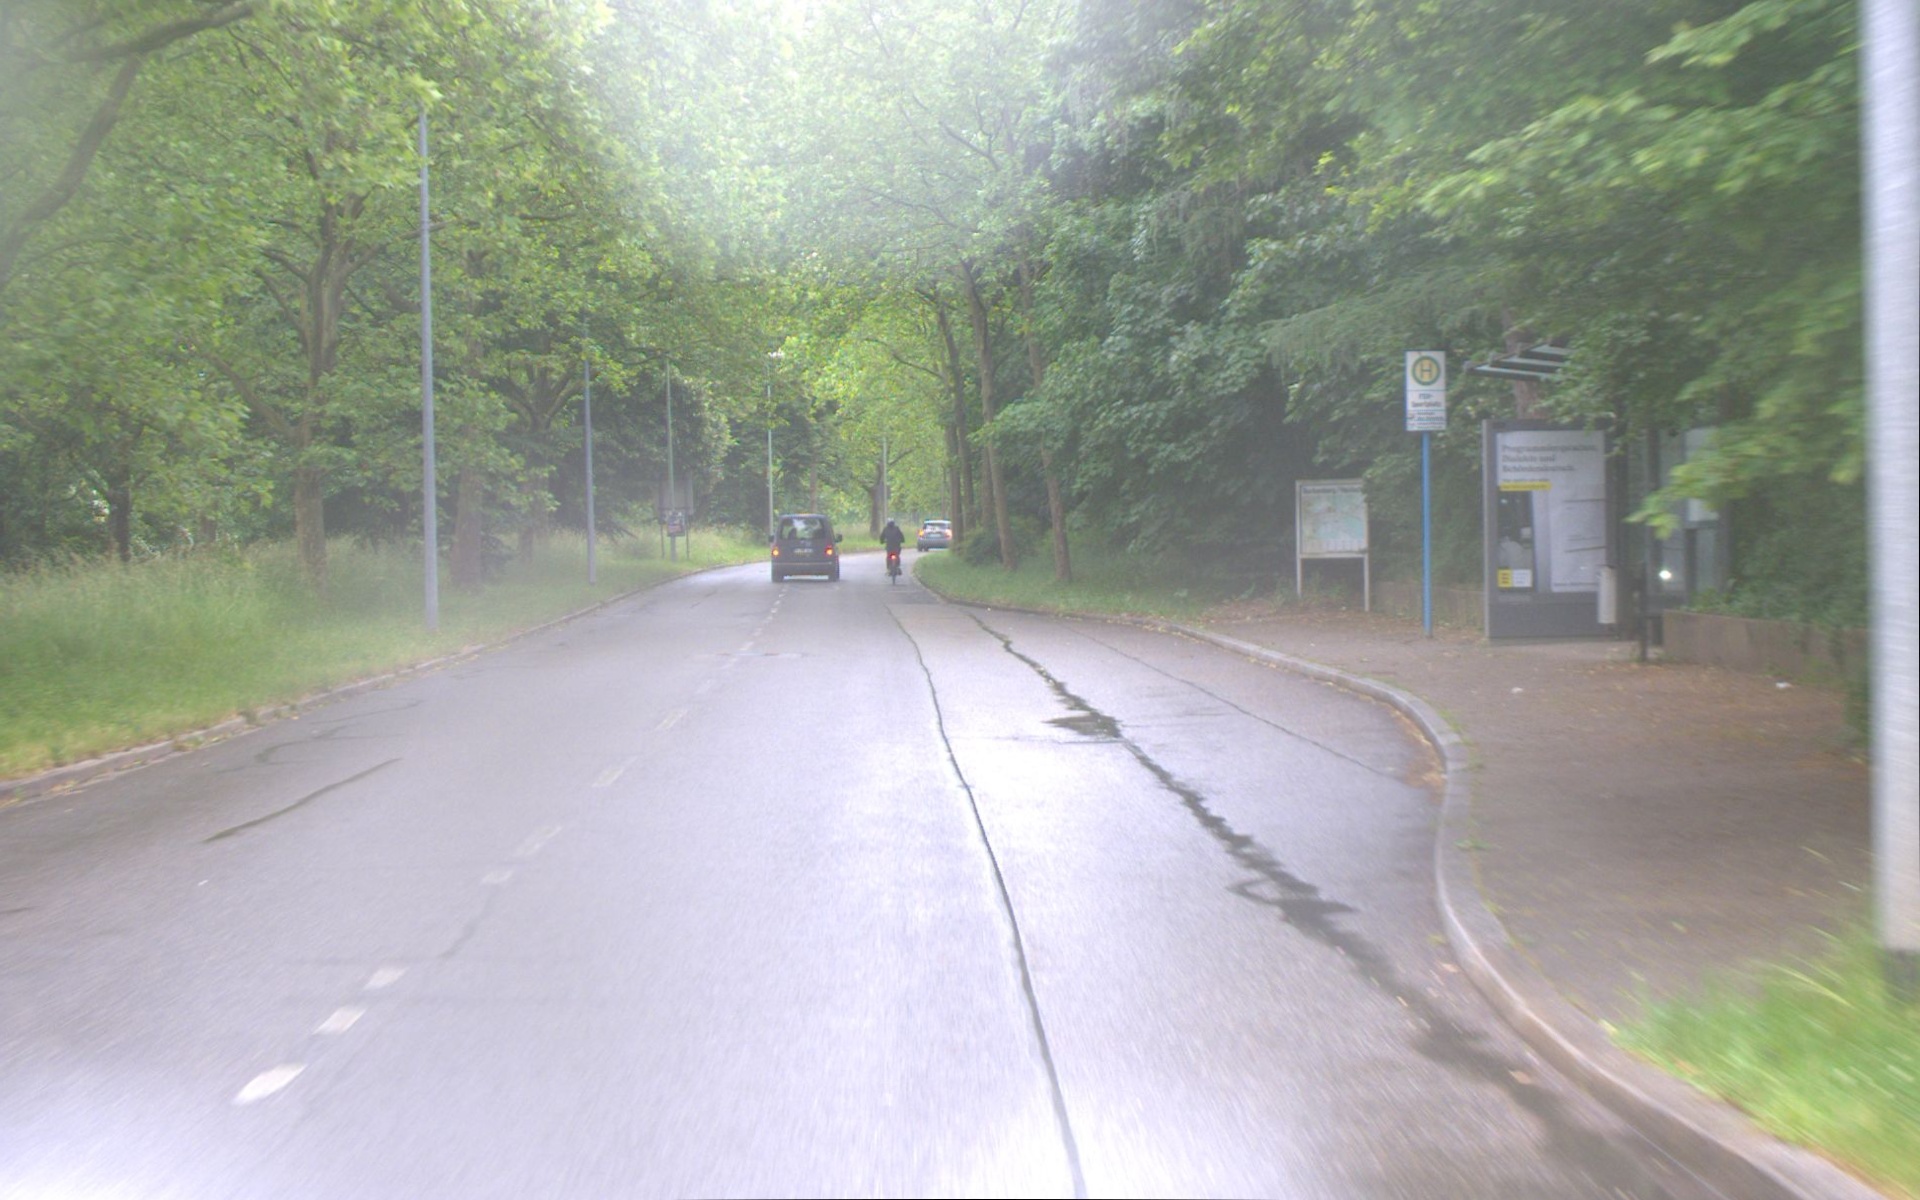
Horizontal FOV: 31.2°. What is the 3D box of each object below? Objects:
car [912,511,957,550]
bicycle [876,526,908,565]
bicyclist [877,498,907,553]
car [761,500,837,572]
[{"bbox_3d":[-1.198,-3.291,162.049,1.993,1.809,4.001,1,1,-2],"label":"car"},{"bbox_3d":[-1.756,-1.413,88.844,0.730,0.970,2.173,1,2,1],"label":"bicycle"},{"bbox_3d":[-1.750,-1.928,88.803,0.730,1.406,0.973,1,2,1],"label":"bicyclist"},{"bbox_3d":[-4.419,-1.770,93.850,1.985,1.919,4.001,-1,2,-4],"label":"car"}]
